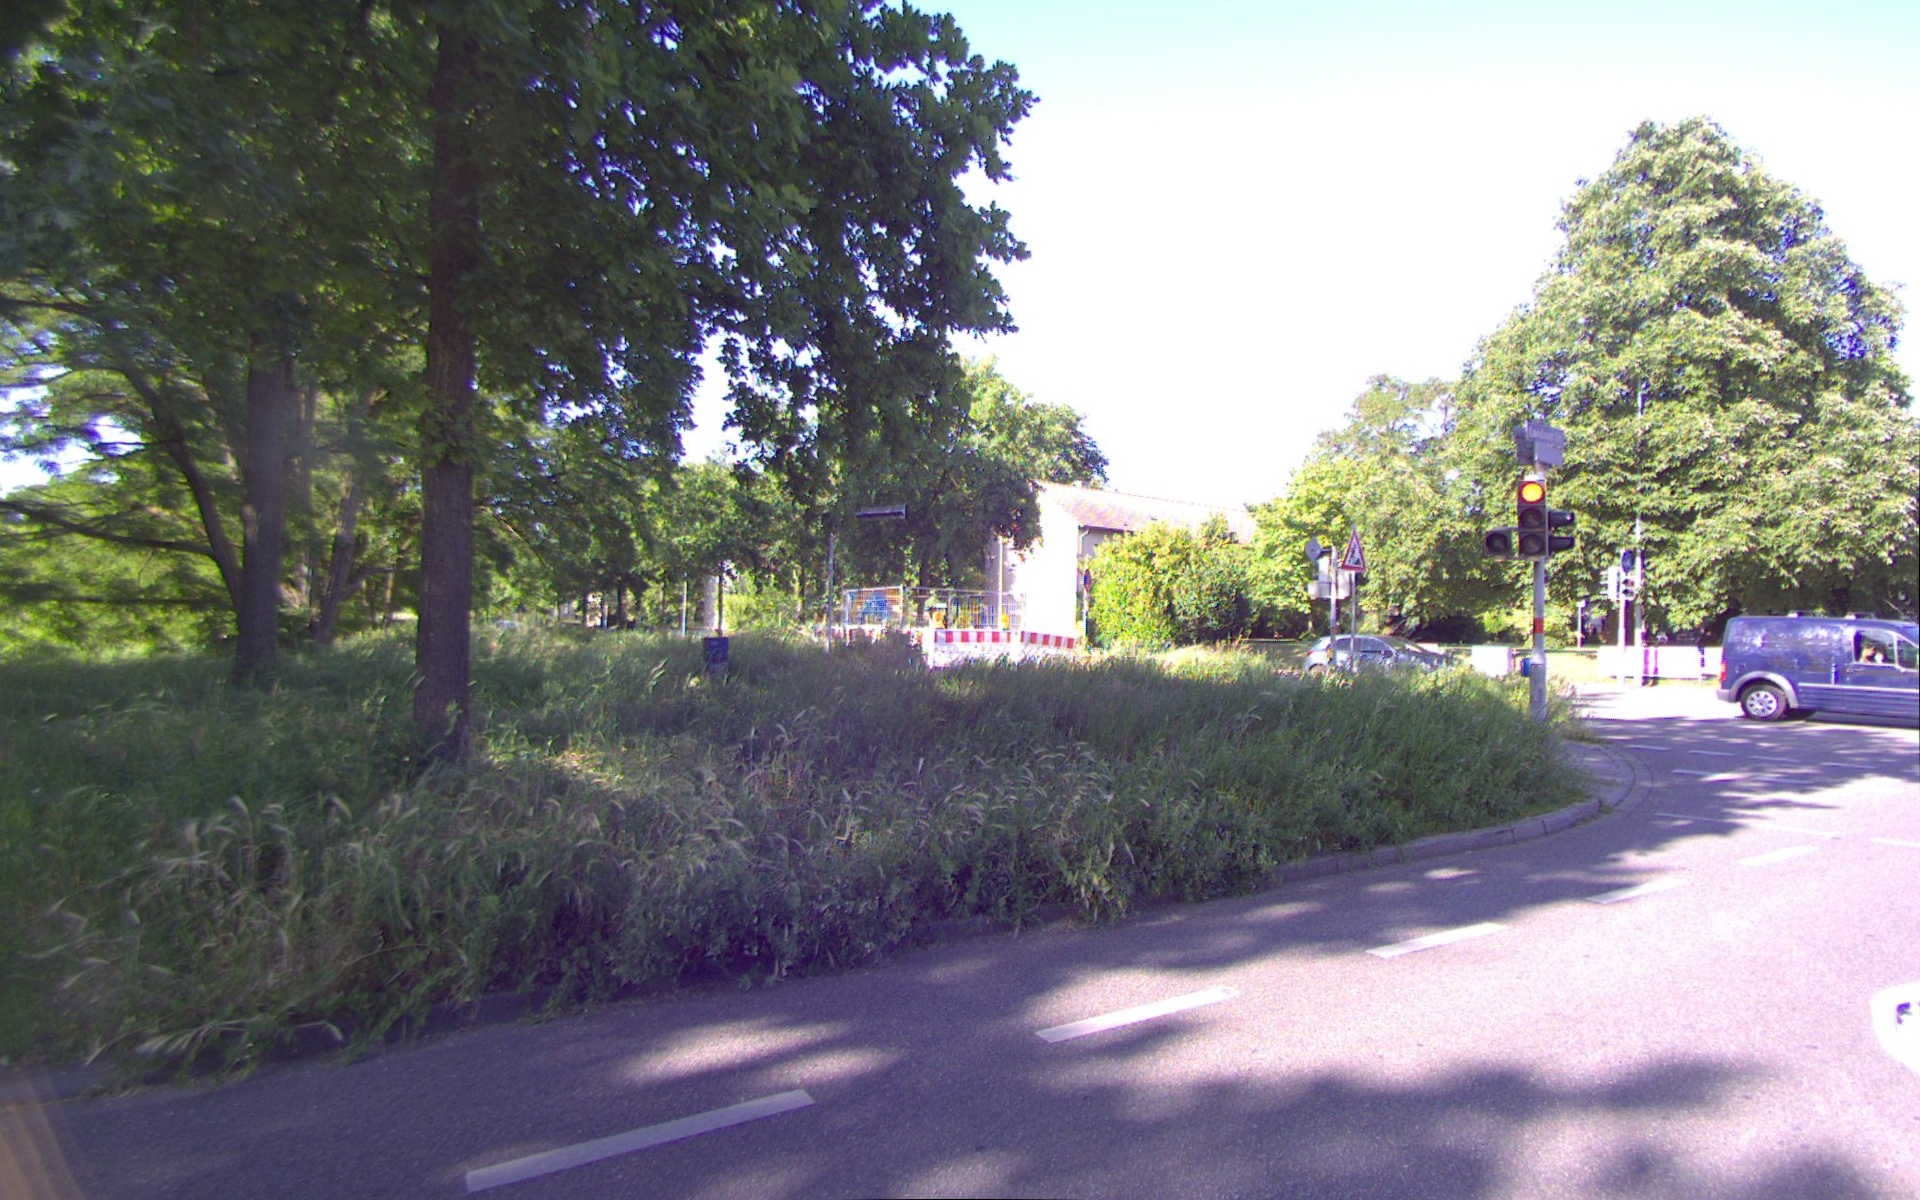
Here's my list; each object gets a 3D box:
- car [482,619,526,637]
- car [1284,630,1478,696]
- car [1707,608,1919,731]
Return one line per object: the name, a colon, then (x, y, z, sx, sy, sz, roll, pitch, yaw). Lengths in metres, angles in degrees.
car: (-47.391, 2.886, 104.492, 3.939, 1.673, 1.991, 2, 0, -20)
car: (10.540, 1.531, 25.454, 1.892, 1.508, 4.261, 1, -2, -31)
car: (15.288, 1.102, 16.656, 1.840, 1.912, 4.319, 1, -2, -33)
